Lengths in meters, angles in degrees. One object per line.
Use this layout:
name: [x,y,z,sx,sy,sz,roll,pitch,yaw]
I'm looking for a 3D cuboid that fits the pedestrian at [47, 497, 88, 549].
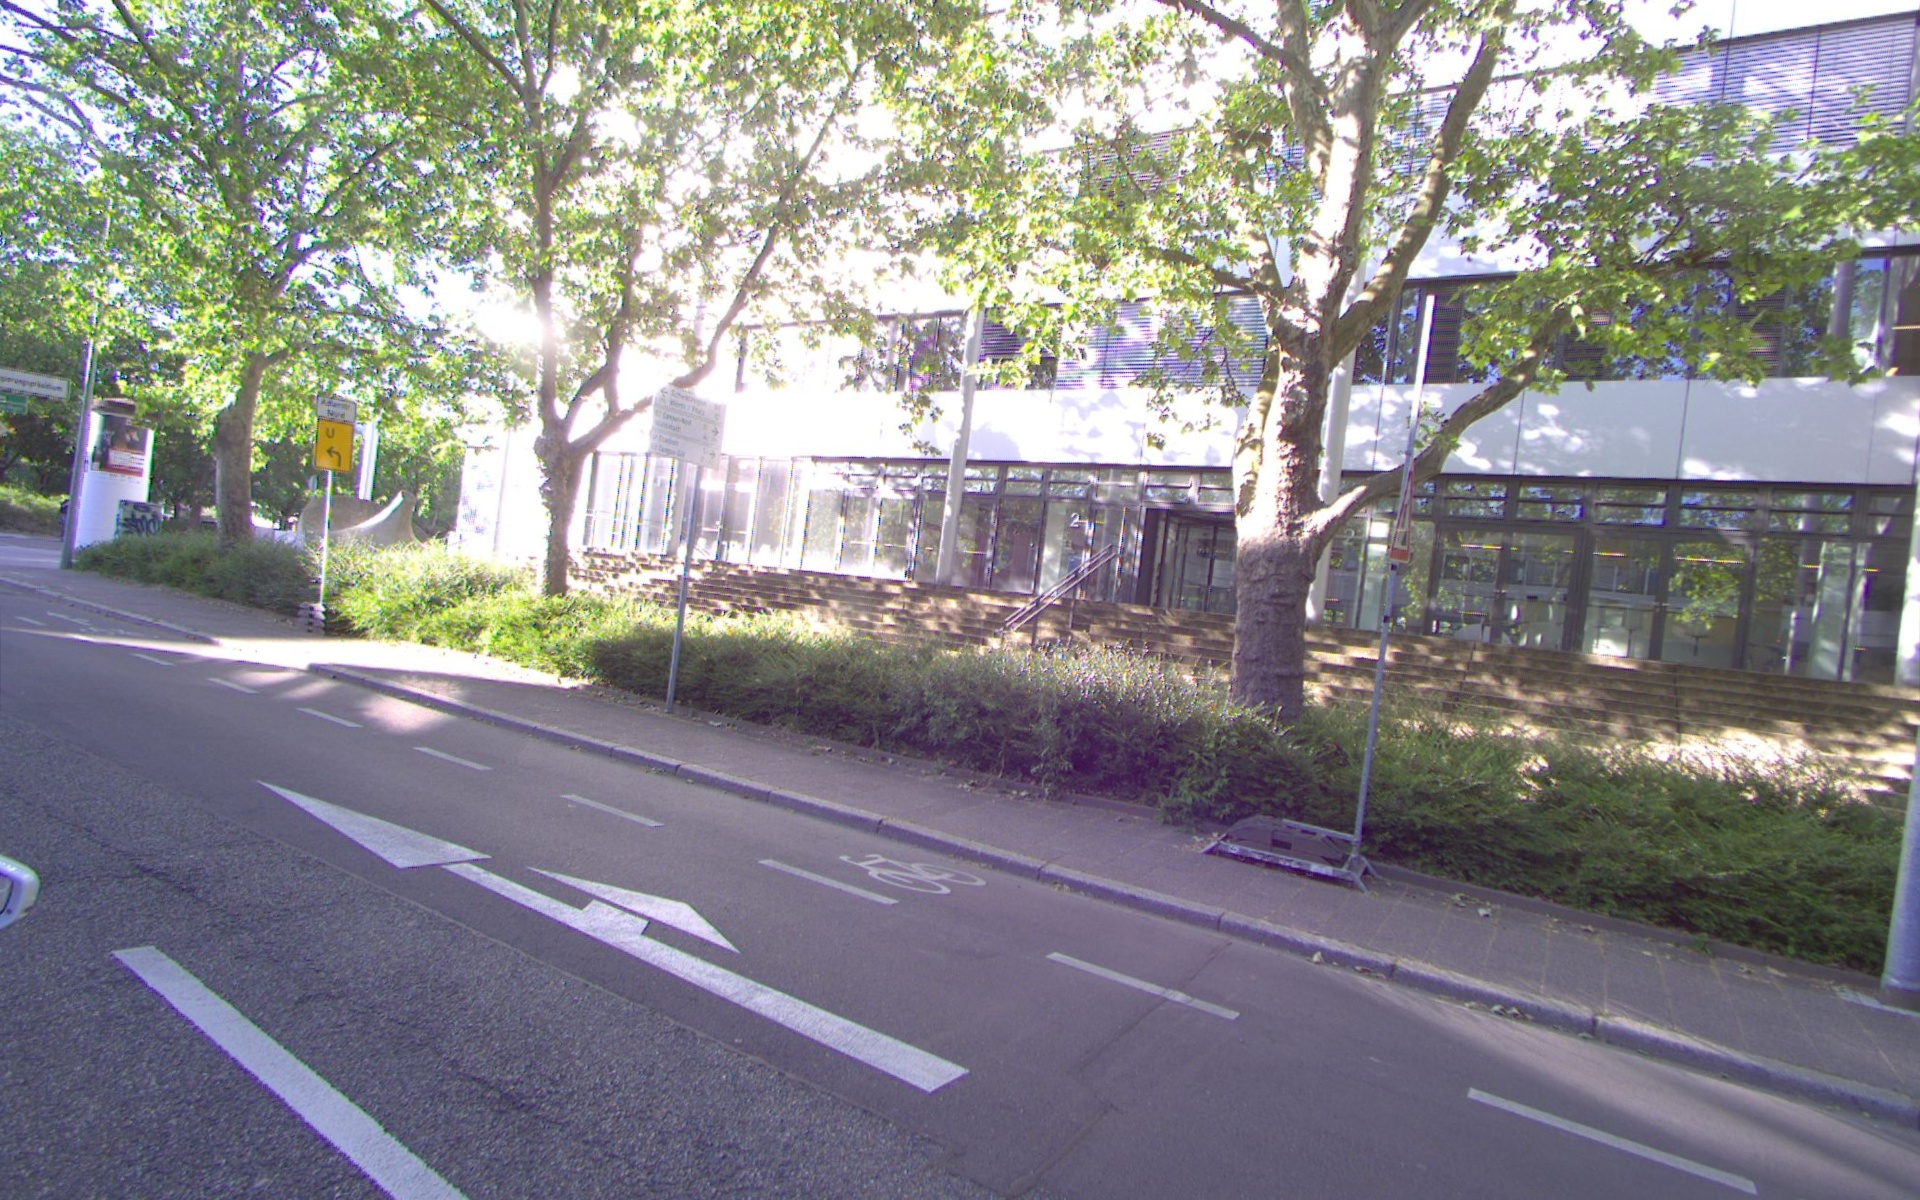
pedestrian: [-33.435,-2.891,37.699,0.716,1.799,0.738,7,-1,20]
